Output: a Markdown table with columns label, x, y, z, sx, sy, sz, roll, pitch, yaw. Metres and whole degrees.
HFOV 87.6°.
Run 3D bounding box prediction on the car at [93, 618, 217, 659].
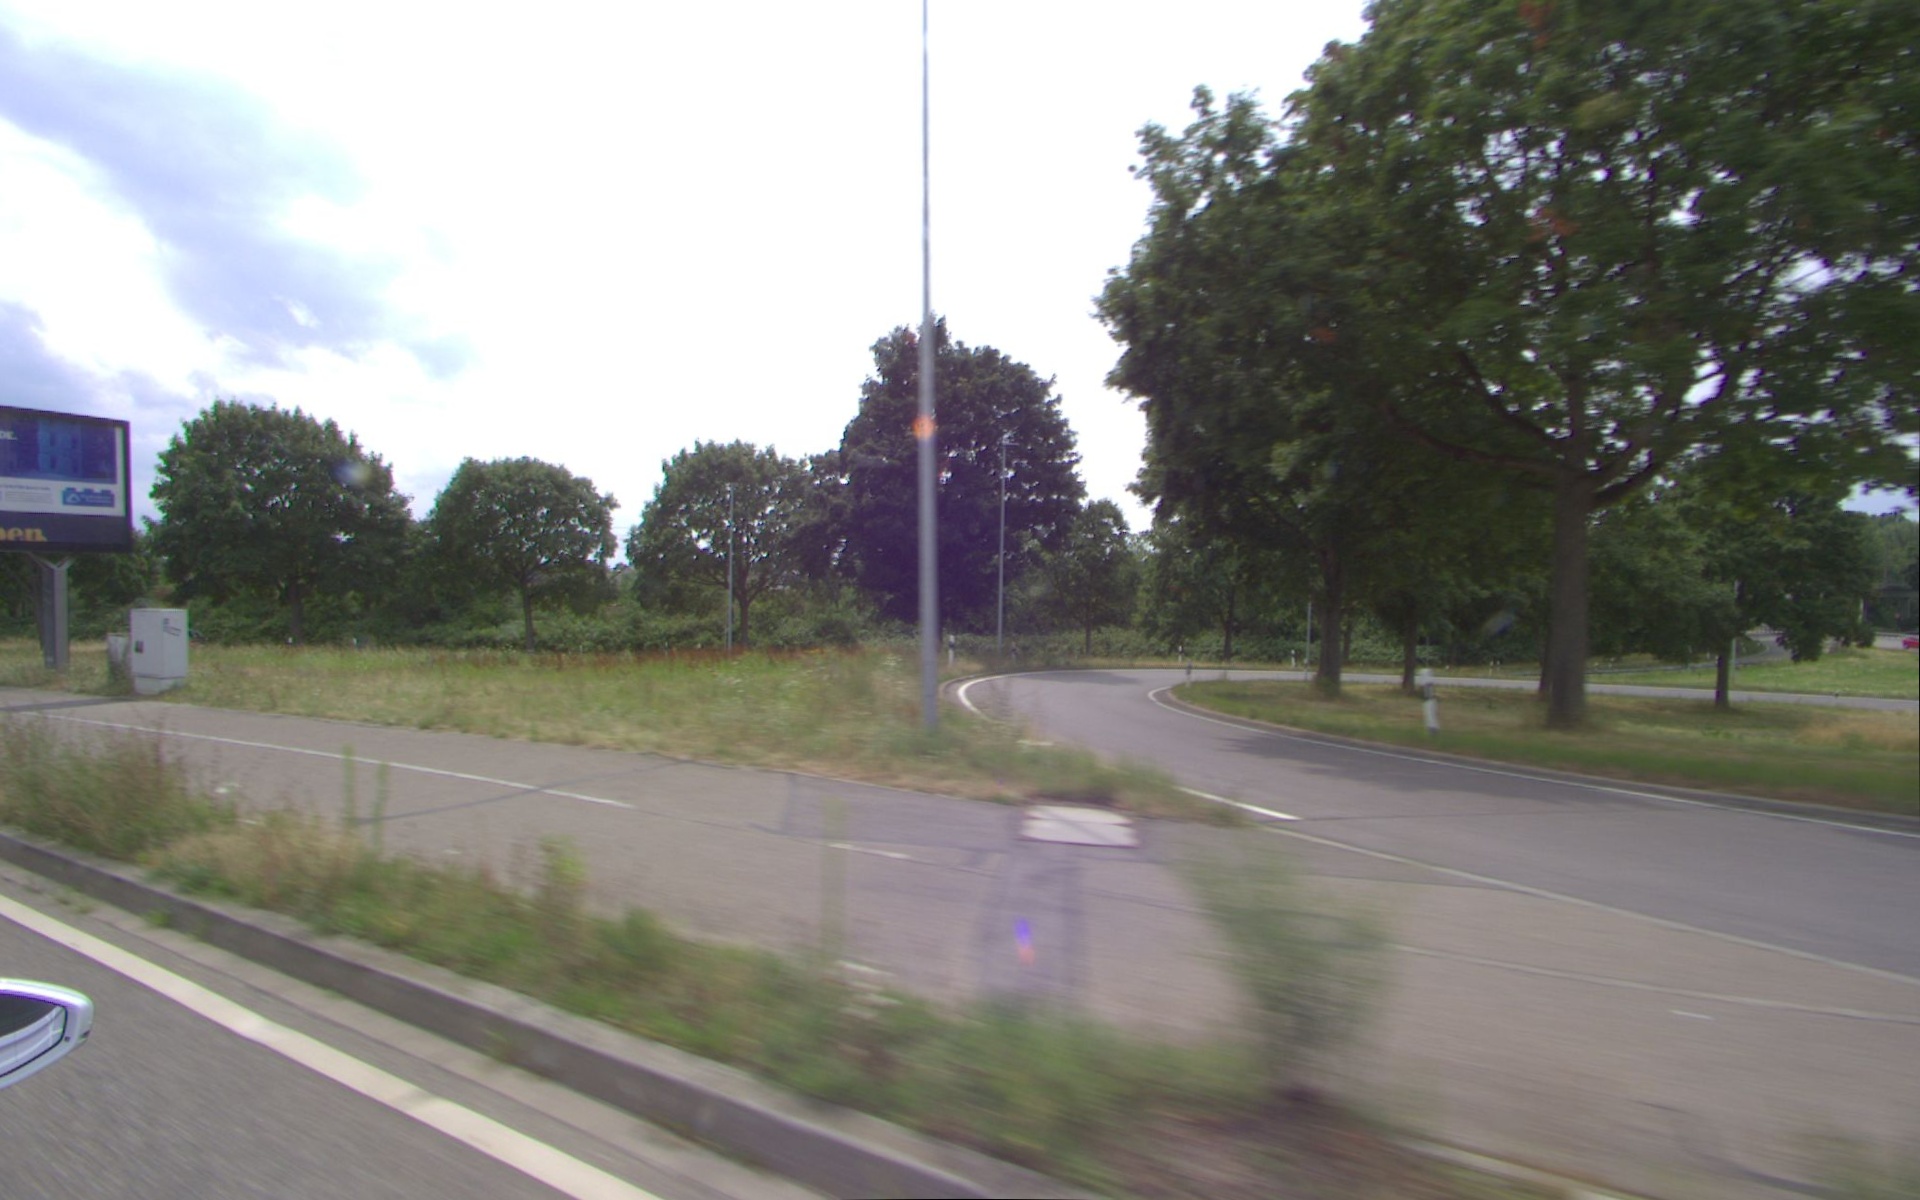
| label | x | y | z | sx | sy | sz | roll | pitch | yaw |
| --- | --- | --- | --- | --- | --- | --- | --- | --- | --- |
| car | -34.860 | 1.676 | 43.480 | 3.944 | 1.690 | 1.700 | 2 | -1 | -31 |

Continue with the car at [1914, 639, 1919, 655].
| label | x | y | z | sx | sy | sz | roll | pitch | yaw |
| --- | --- | --- | --- | --- | --- | --- | --- | --- | --- |
| car | 121.948 | 5.938 | 125.181 | 1.962 | 2.039 | 4.001 | 1 | -2 | 9 |
